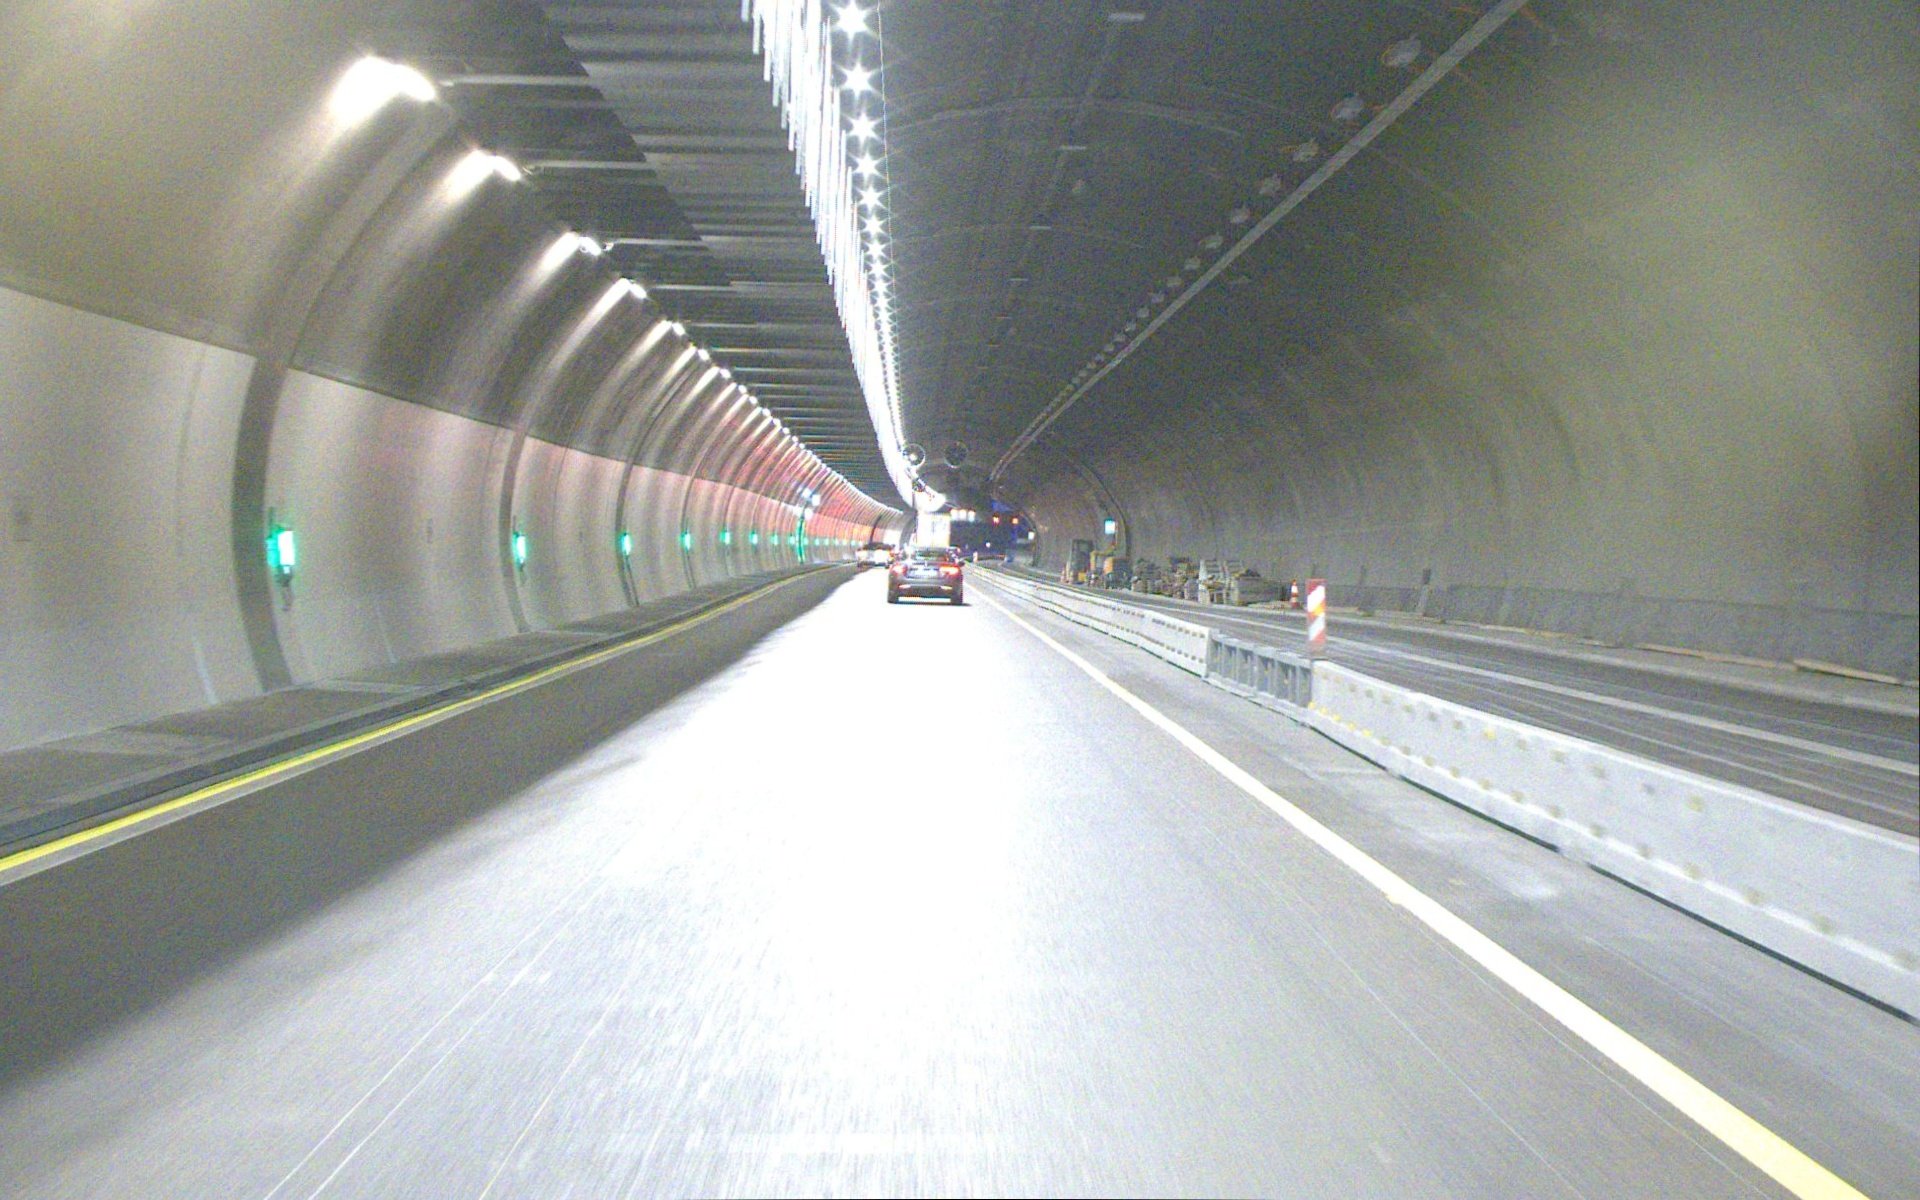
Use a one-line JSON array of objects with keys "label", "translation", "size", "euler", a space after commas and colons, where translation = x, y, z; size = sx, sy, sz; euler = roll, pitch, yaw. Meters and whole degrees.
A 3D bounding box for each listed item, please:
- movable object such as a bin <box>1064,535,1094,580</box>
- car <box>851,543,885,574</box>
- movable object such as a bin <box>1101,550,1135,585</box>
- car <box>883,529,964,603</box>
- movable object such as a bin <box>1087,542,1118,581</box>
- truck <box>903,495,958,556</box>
[{"label": "movable object such as a bin", "translation": [5.770, -2.058, 166.708], "size": [1.234, 2.133, 2.217], "euler": [3, 1, -1]}, {"label": "car", "translation": [-5.251, -2.377, 196.534], "size": [1.930, 1.681, 4.000], "euler": [1, 1, -1]}, {"label": "movable object such as a bin", "translation": [6.824, -1.415, 148.689], "size": [1.234, 1.437, 2.217], "euler": [3, 1, -1]}, {"label": "car", "translation": [-0.937, -0.880, 86.294], "size": [1.946, 1.788, 4.000], "euler": [1, 1, -1]}, {"label": "movable object such as a bin", "translation": [6.610, -1.795, 160.005], "size": [1.234, 1.713, 2.217], "euler": [3, 1, -1]}, {"label": "truck", "translation": [-2.300, -5.788, 268.165], "size": [4.066, 4.517, 14.966], "euler": [1, 1, -1]}]
